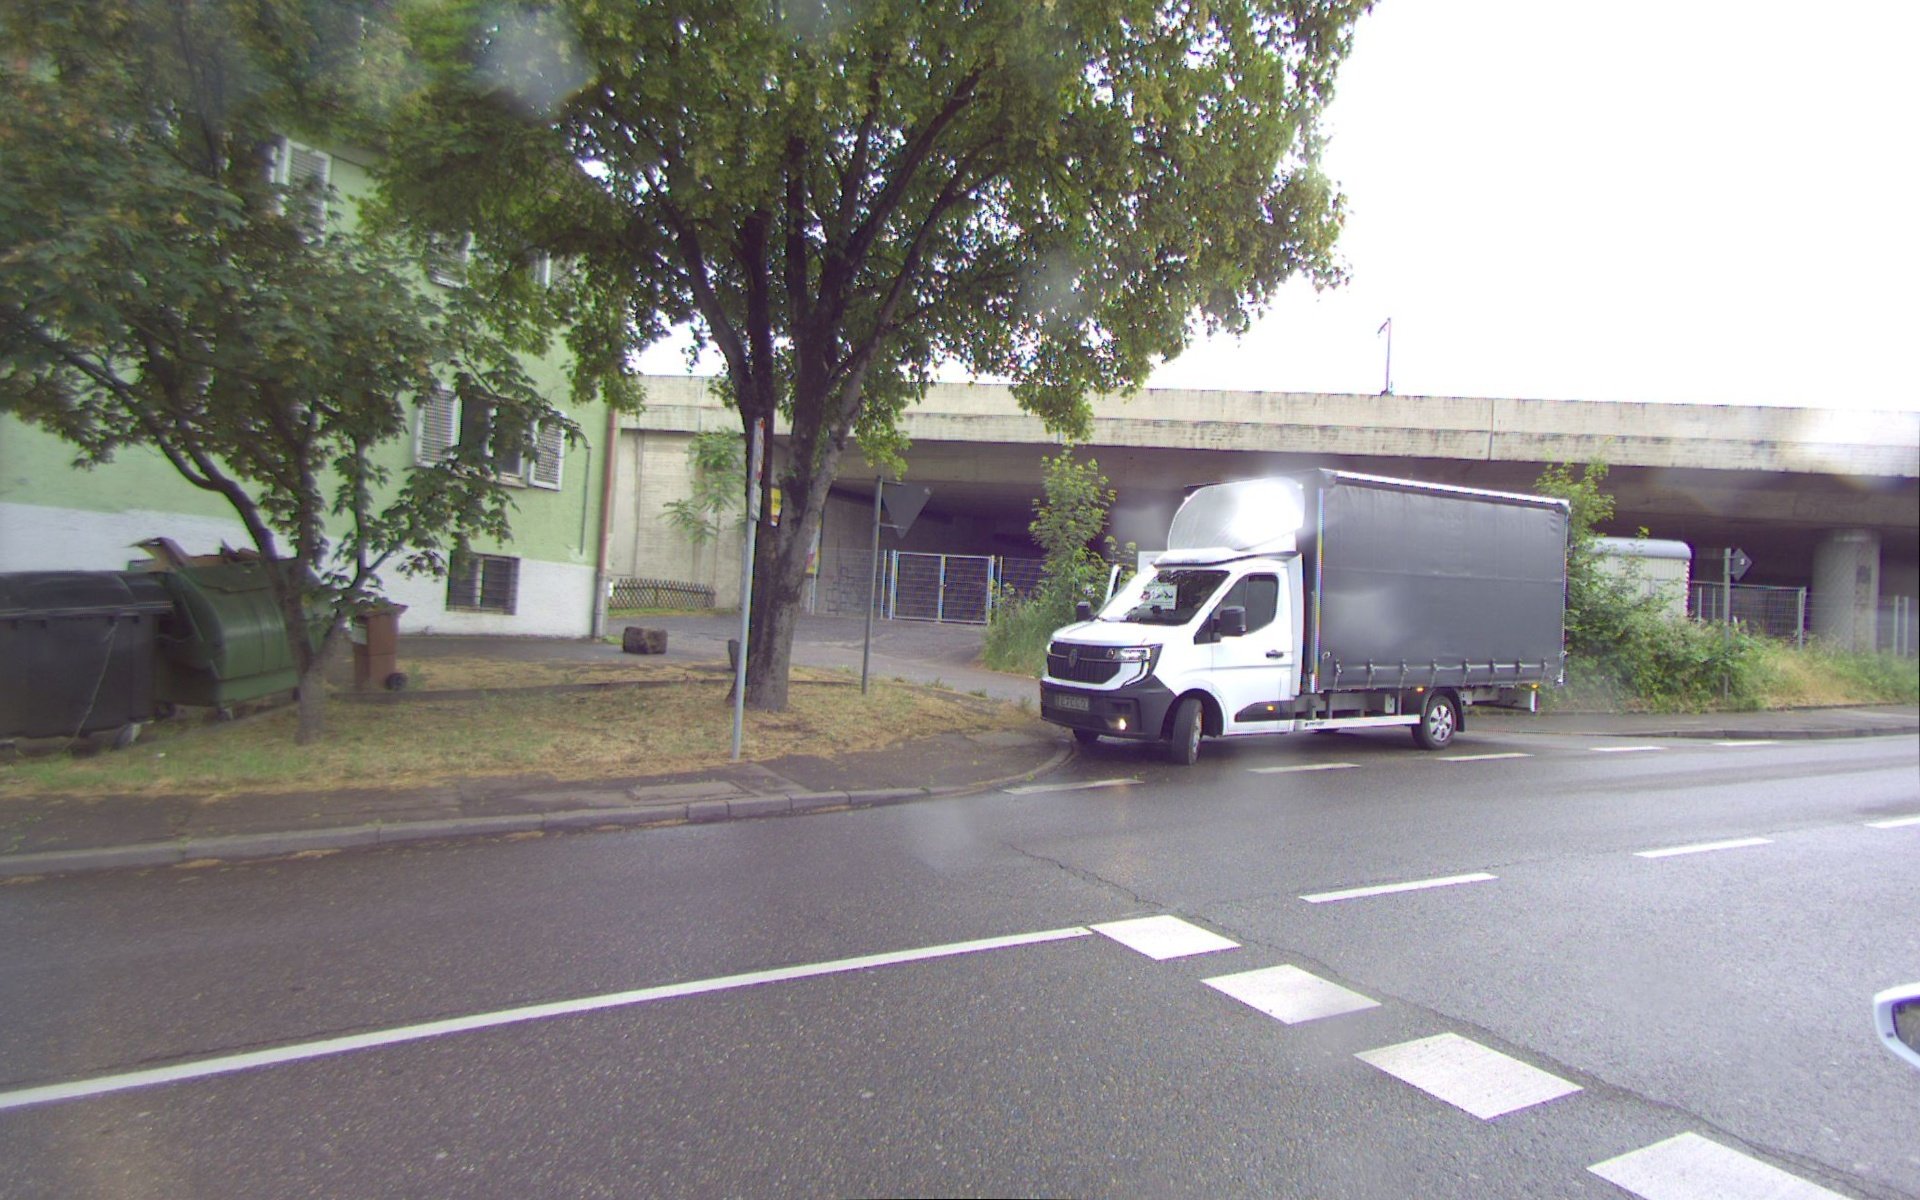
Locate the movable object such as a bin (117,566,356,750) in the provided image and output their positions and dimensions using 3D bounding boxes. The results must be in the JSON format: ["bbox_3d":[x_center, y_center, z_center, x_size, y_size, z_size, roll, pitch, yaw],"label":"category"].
[{"bbox_3d":[-6.718,0.473,9.425,1.078,1.457,1.463,5,5,13],"label":"movable object such as a bin"}]

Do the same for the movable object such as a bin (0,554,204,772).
[{"bbox_3d":[-7.285,0.420,8.061,1.268,1.457,1.463,5,5,13],"label":"movable object such as a bin"}]

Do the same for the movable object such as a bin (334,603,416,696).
[{"bbox_3d":[-6.342,0.534,10.907,0.715,0.970,0.554,3,-1,-30],"label":"movable object such as a bin"}]

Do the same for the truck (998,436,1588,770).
[{"bbox_3d":[4.473,0.180,12.859,7.681,3.279,2.599,3,-1,-29],"label":"truck"}]
